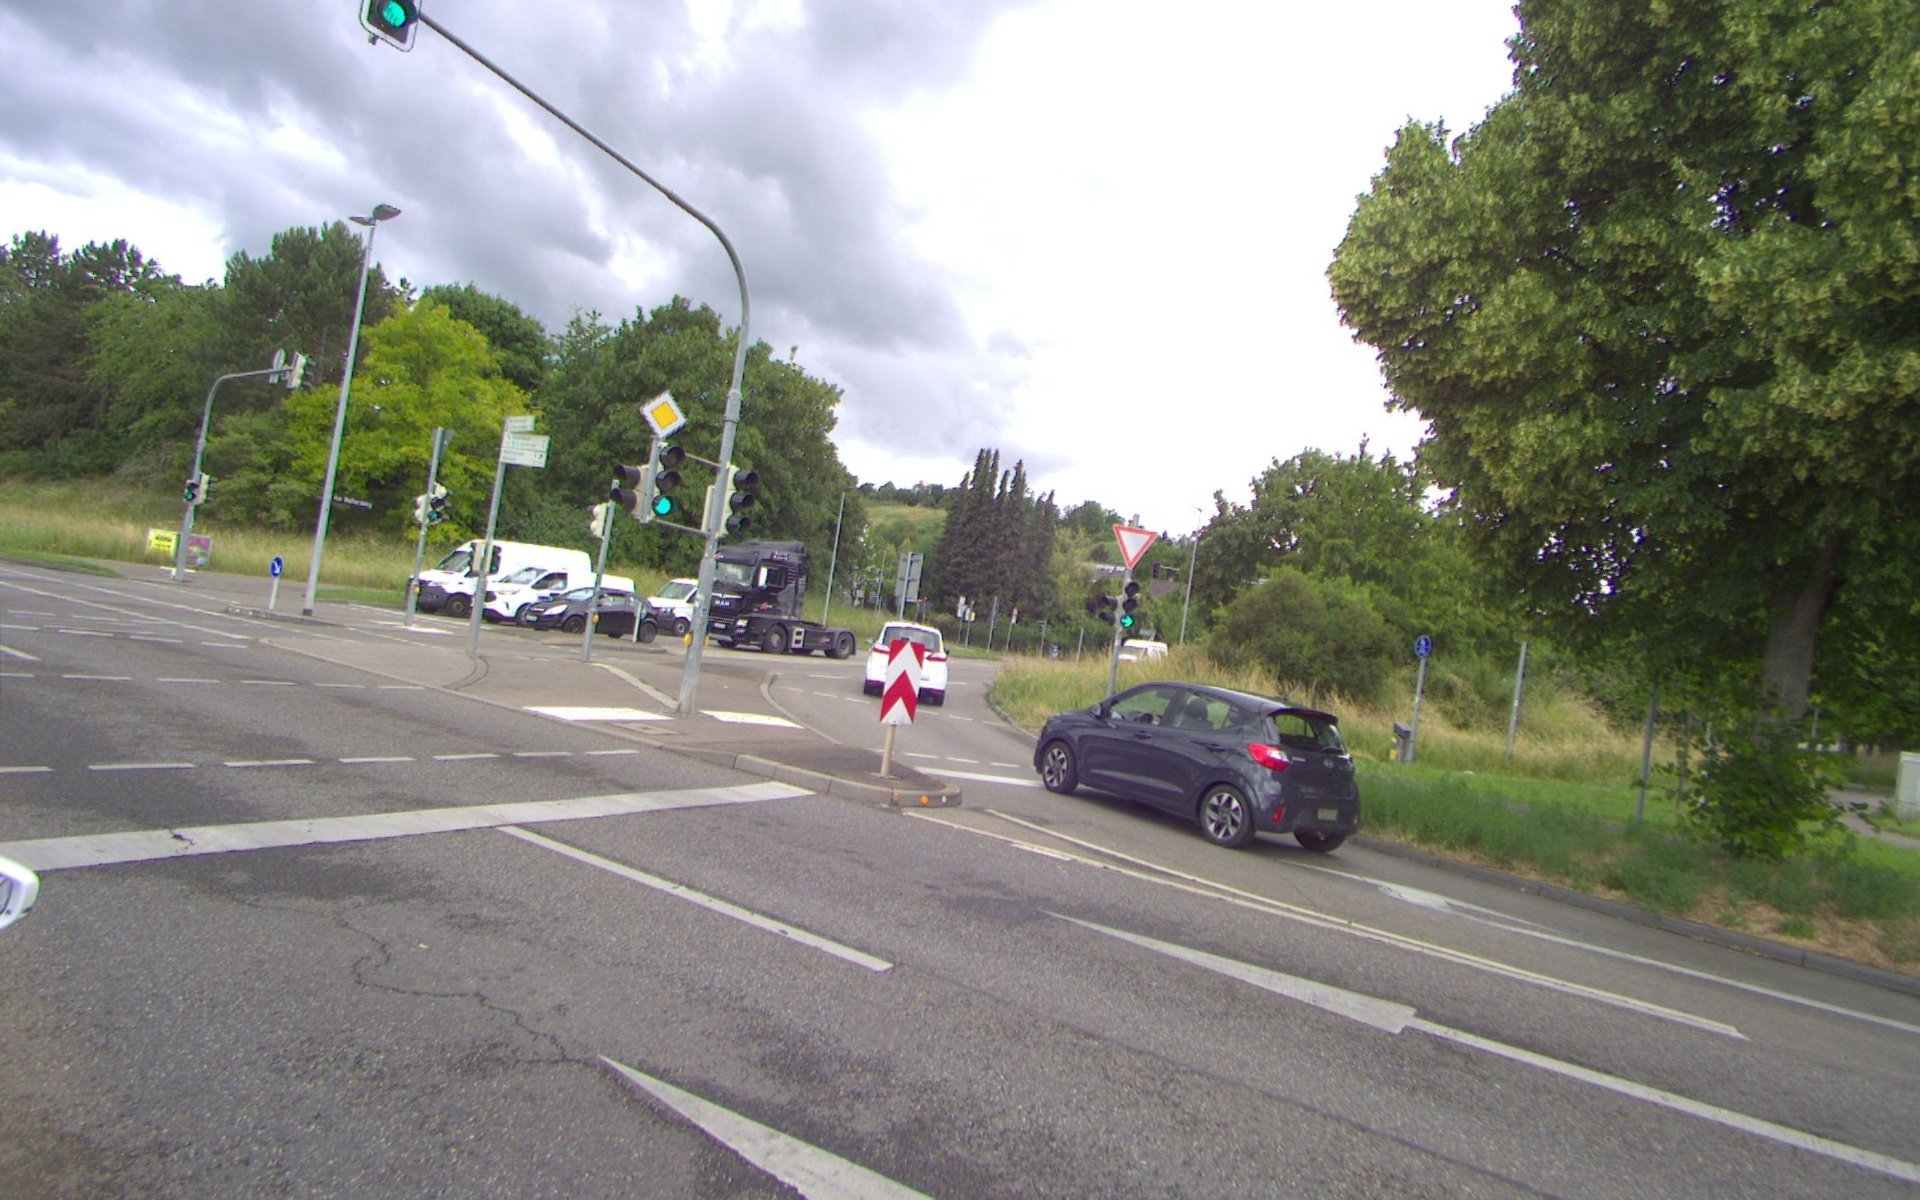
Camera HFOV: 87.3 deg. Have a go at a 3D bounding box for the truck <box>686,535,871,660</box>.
[{"bbox_3d":[-6.205,0.024,35.338,2.682,3.580,6.061,7,-1,32],"label":"truck"}]

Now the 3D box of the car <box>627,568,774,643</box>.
[{"bbox_3d":[-10.419,0.289,40.903,2.100,2.316,5.709,7,-1,32],"label":"car"}]

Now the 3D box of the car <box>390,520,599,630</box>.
[{"bbox_3d":[-15.330,-0.736,33.595,2.100,2.814,5.903,7,-1,32],"label":"car"}]

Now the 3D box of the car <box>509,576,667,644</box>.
[{"bbox_3d":[-10.600,0.335,28.927,1.703,1.453,3.927,7,-1,31],"label":"car"}]

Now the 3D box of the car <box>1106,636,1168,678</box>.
[{"bbox_3d":[13.684,4.451,77.458,2.160,2.640,6.509,7,-1,32],"label":"car"}]

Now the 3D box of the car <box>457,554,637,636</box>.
[{"bbox_3d":[-12.927,-0.095,31.814,1.999,1.918,4.862,7,-1,31],"label":"car"}]

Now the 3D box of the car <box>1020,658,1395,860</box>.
[{"bbox_3d":[2.481,1.605,10.798,1.613,1.445,3.582,12,-5,-35],"label":"car"}]

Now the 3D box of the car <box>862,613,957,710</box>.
[{"bbox_3d":[-1.252,1.318,23.191,1.753,1.614,4.453,10,0,-5],"label":"car"}]
